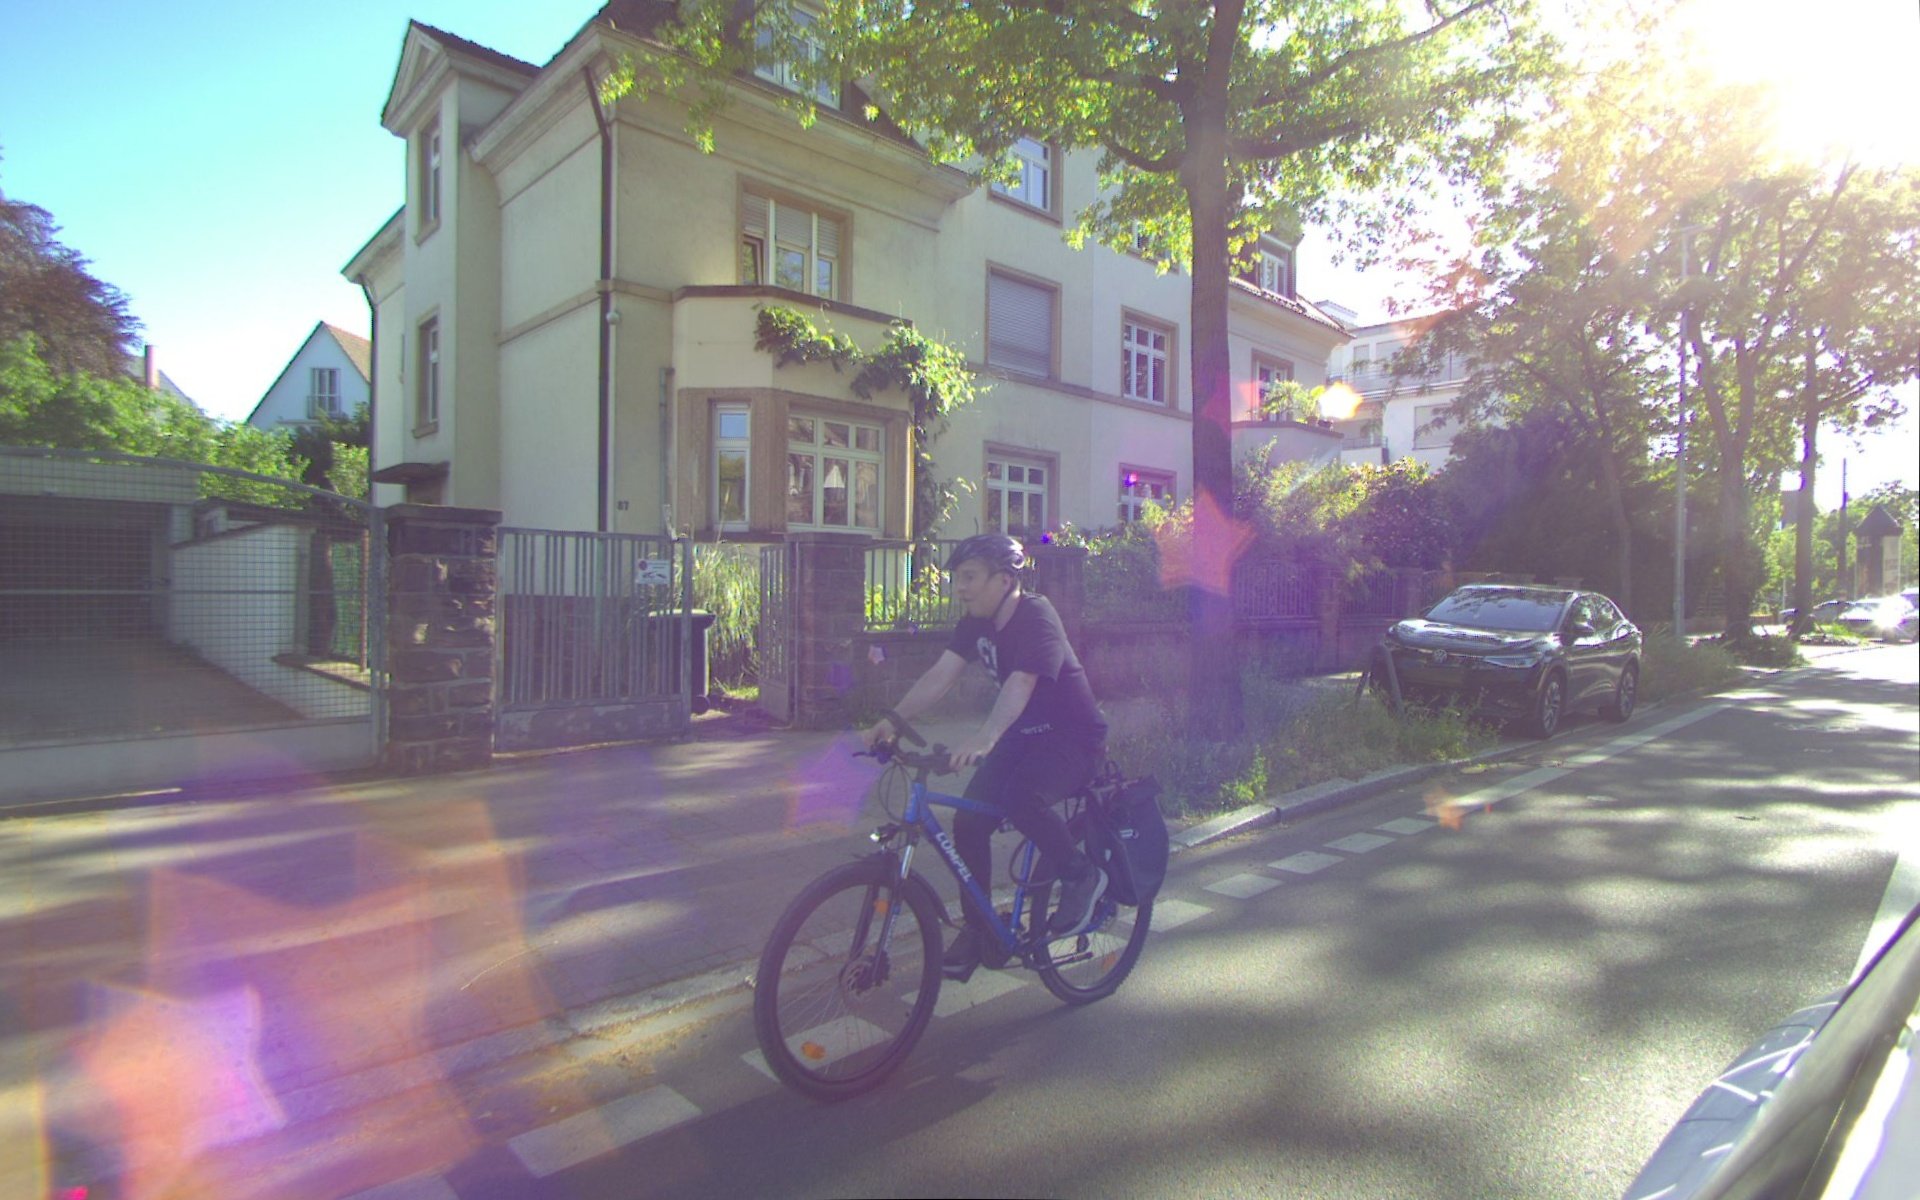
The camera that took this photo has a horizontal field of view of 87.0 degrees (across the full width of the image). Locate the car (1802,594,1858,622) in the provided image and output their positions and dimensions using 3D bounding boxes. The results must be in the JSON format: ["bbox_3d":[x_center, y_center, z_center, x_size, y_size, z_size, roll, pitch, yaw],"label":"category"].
[{"bbox_3d":[46.954,0.413,54.575,3.930,1.460,1.739,-1,0,-41],"label":"car"}]

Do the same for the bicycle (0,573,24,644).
[{"bbox_3d":[-15.772,0.133,16.633,0.512,1.136,1.464,0,0,-41],"label":"bicycle"}]

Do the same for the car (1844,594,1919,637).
[{"bbox_3d":[31.475,0.473,34.243,3.847,1.356,1.719,-1,0,-39],"label":"car"}]

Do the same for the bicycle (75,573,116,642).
[{"bbox_3d":[-14.849,0.121,17.385,0.512,1.136,1.464,0,0,-41],"label":"bicycle"}]

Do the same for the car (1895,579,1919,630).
[{"bbox_3d":[36.661,0.151,37.814,4.171,1.852,1.904,-1,0,-38],"label":"car"}]

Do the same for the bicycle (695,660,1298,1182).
[{"bbox_3d":[0.224,0.861,3.515,2.057,1.169,0.831,-1,0,-39],"label":"bicycle"}]

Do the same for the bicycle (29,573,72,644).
[{"bbox_3d":[-15.274,0.127,17.015,0.512,1.136,1.464,0,0,-41],"label":"bicycle"}]

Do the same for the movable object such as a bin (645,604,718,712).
[{"bbox_3d":[-2.964,0.588,10.765,0.712,1.068,0.969,0,0,-17],"label":"movable object such as a bin"}]

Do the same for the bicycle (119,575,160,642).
[{"bbox_3d":[-14.365,0.137,17.705,0.512,1.136,1.464,0,0,-41],"label":"bicycle"}]

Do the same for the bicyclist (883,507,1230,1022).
[{"bbox_3d":[0.338,0.478,3.602,0.917,1.520,0.823,0,0,-39],"label":"bicyclist"}]

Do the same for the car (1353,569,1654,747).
[{"bbox_3d":[6.626,0.546,12.149,4.101,1.765,1.995,-1,0,-43],"label":"car"}]
